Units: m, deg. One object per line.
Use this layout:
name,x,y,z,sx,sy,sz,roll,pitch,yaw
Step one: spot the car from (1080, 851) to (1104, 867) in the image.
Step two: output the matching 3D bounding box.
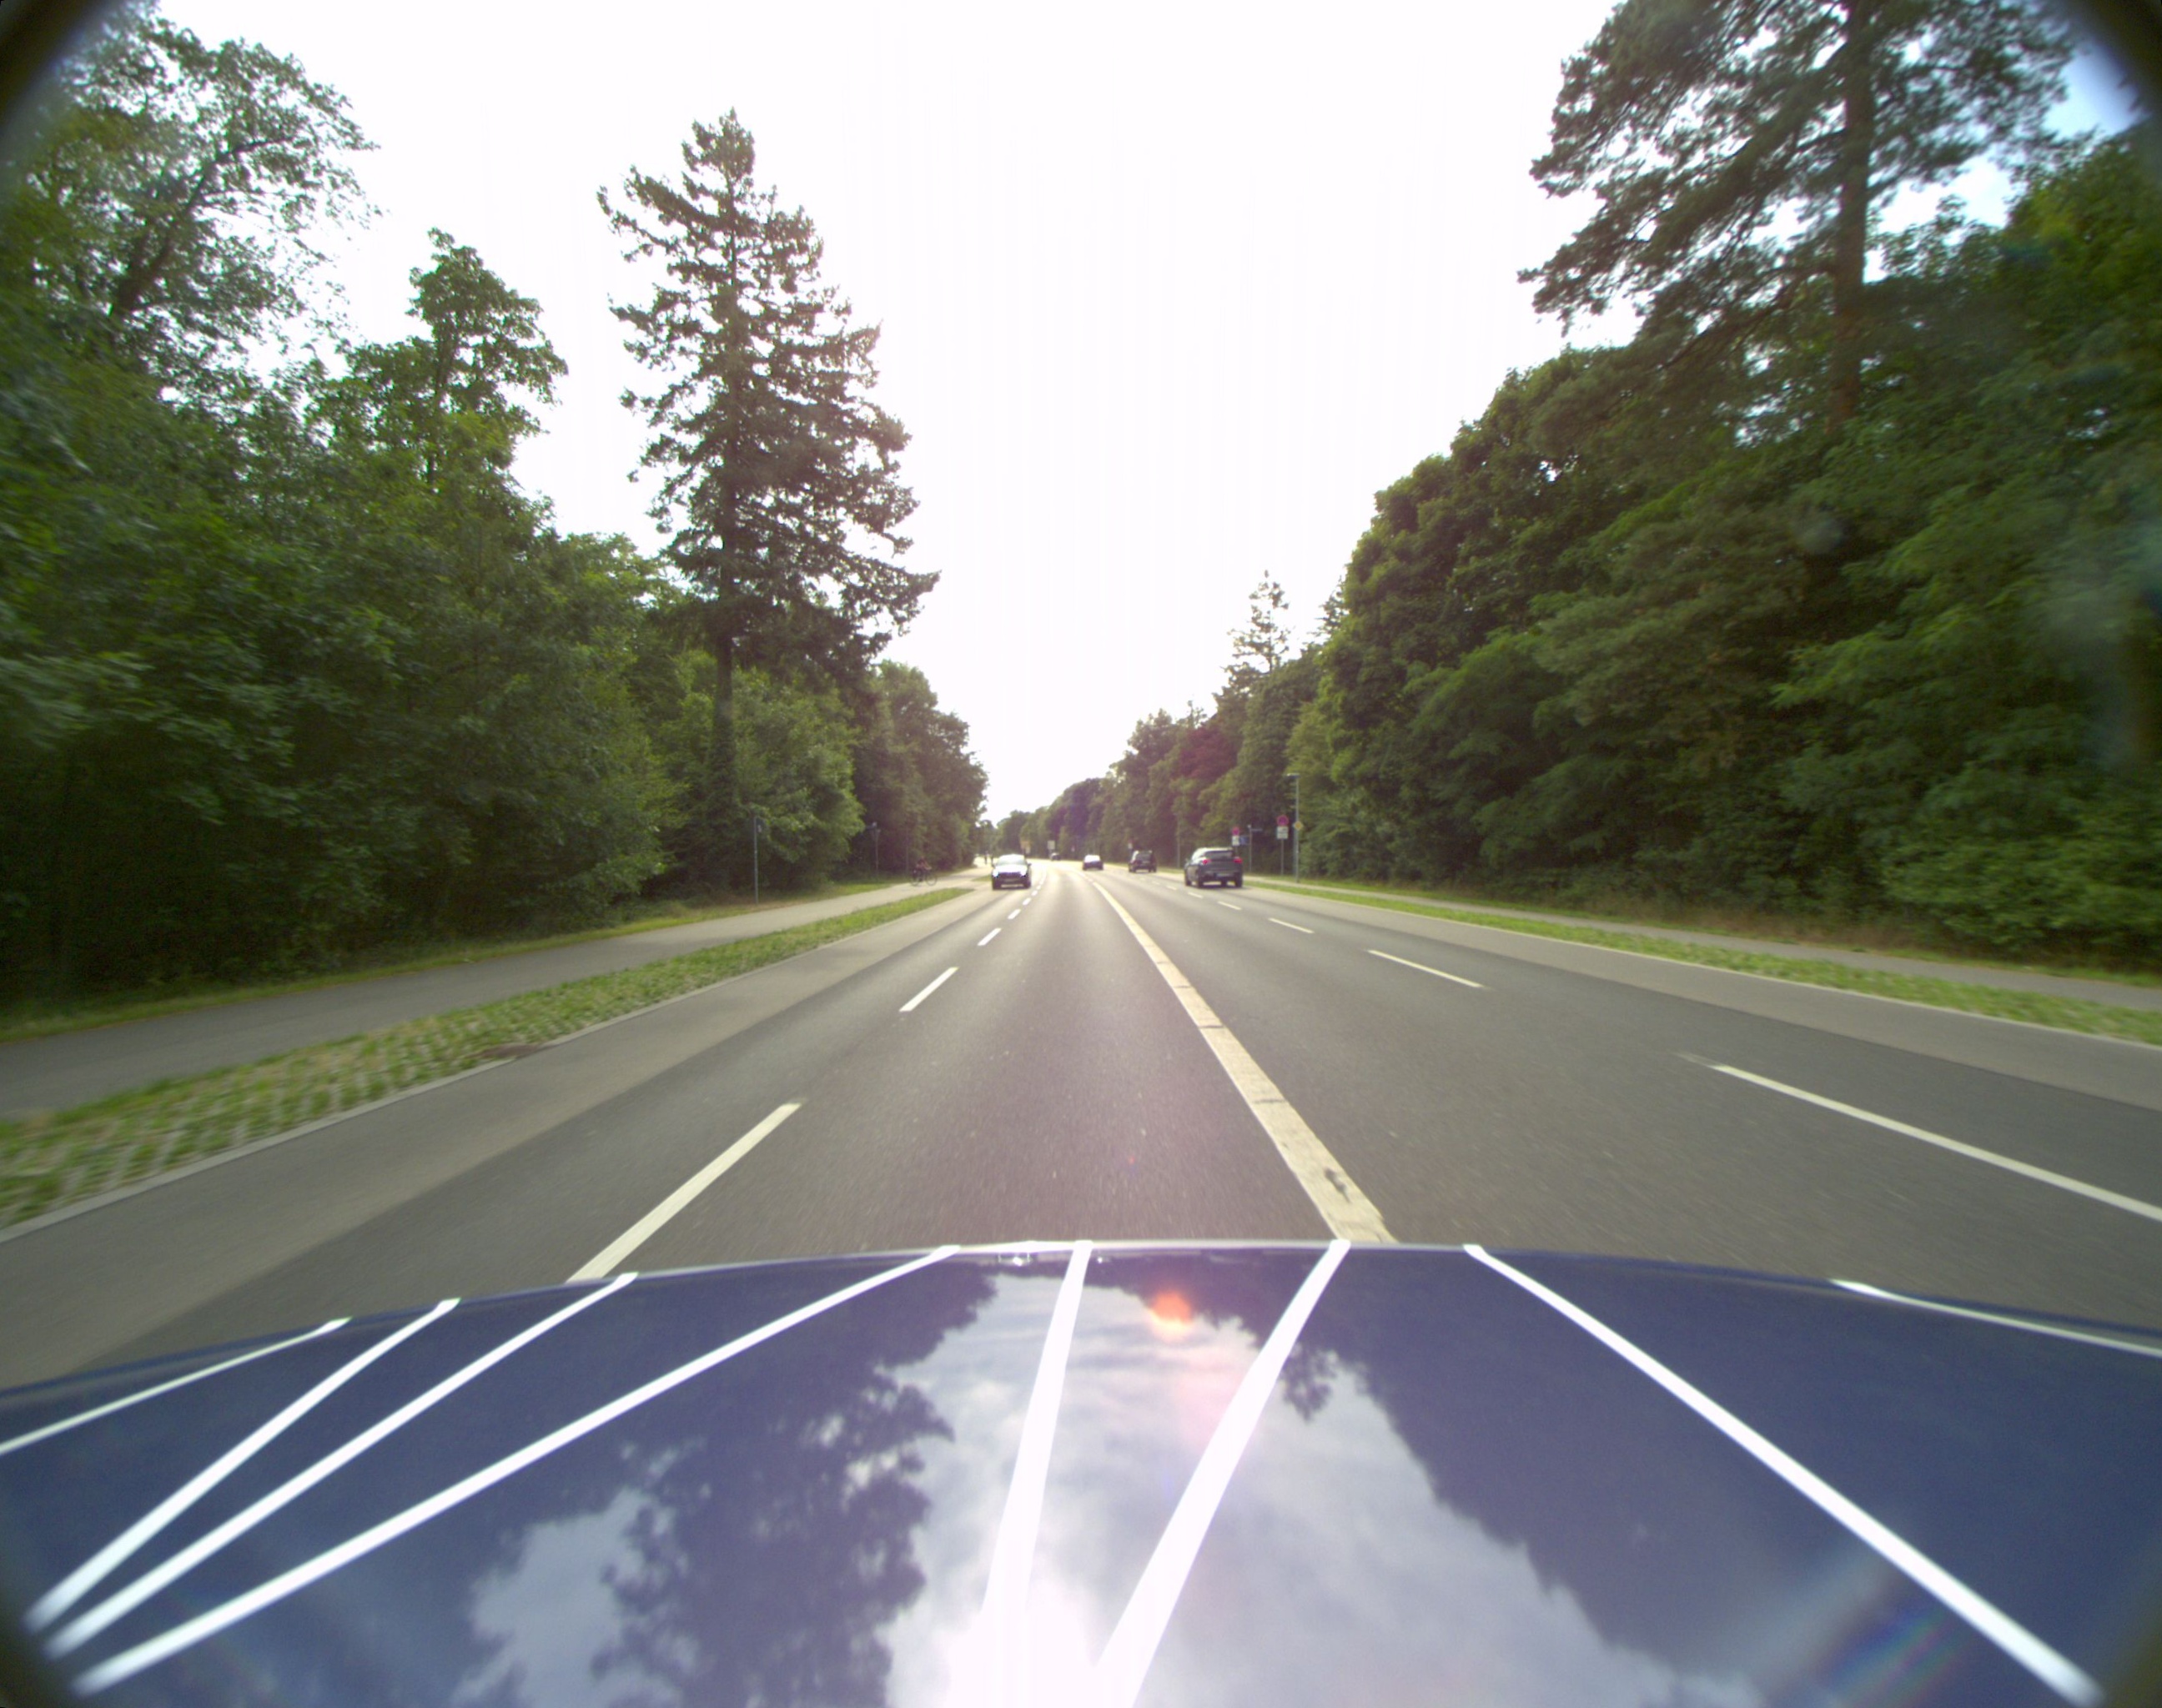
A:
car,1.048,0.449,75.216,1.999,1.427,4.718,-2,1,-4

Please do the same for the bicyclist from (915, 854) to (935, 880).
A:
bicyclist,-9.040,0.760,44.008,0.899,1.462,0.712,-1,1,17

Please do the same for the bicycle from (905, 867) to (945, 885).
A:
bicycle,-9.033,1.255,44.004,2.177,0.988,0.712,-1,1,15

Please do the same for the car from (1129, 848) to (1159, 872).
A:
car,4.930,0.434,59.910,1.928,1.646,4.468,-2,1,0

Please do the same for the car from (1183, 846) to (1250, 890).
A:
car,5.788,0.543,33.108,1.998,1.607,4.662,-4,1,0

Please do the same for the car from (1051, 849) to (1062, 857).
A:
car,-5.435,-0.227,169.416,2.000,1.781,4.744,-4,1,-7

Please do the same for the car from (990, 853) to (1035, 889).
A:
car,-3.500,0.847,39.378,1.999,1.565,3.998,-3,1,-2
